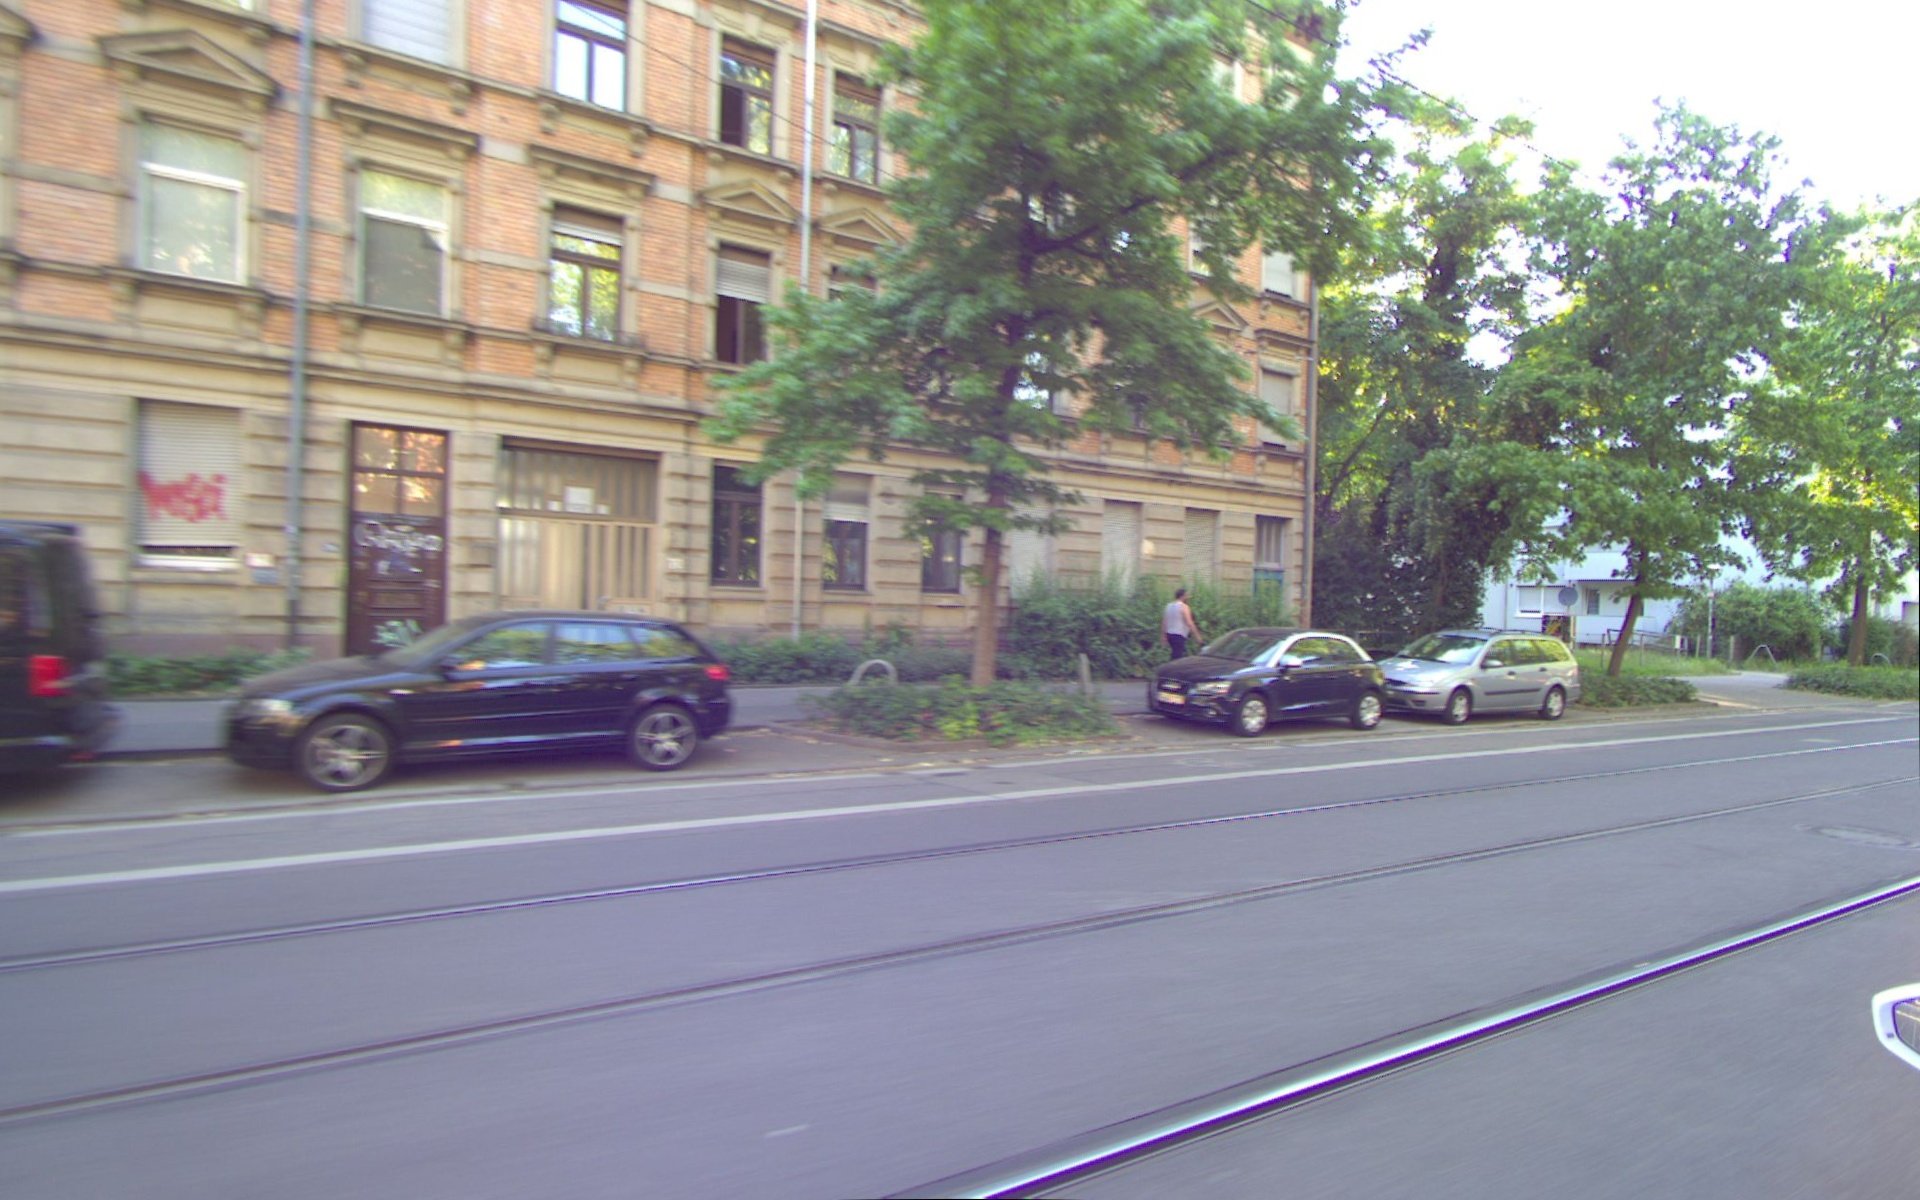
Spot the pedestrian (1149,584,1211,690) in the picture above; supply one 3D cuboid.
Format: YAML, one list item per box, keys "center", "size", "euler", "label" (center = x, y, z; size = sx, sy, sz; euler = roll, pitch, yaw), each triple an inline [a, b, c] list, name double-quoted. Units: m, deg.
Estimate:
- center: [4.001, 0.660, 18.272]
  size: [0.721, 1.872, 0.737]
  euler: [1, 2, -33]
  label: "pedestrian"

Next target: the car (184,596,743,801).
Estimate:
- center: [-4.348, 0.772, 9.249]
  size: [4.224, 1.478, 1.842]
  euler: [2, 0, -33]
  label: "car"

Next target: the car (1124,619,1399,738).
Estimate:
- center: [4.427, 1.064, 14.584]
  size: [3.906, 1.464, 1.649]
  euler: [2, 1, -32]
  label: "car"

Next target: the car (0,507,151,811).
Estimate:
- center: [-8.517, 0.337, 6.553]
  size: [4.782, 2.040, 1.982]
  euler: [2, 0, -33]
  label: "car"

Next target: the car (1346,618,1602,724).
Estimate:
- center: [8.941, 1.176, 17.398]
  size: [4.480, 1.571, 1.692]
  euler: [2, 1, -29]
  label: "car"
